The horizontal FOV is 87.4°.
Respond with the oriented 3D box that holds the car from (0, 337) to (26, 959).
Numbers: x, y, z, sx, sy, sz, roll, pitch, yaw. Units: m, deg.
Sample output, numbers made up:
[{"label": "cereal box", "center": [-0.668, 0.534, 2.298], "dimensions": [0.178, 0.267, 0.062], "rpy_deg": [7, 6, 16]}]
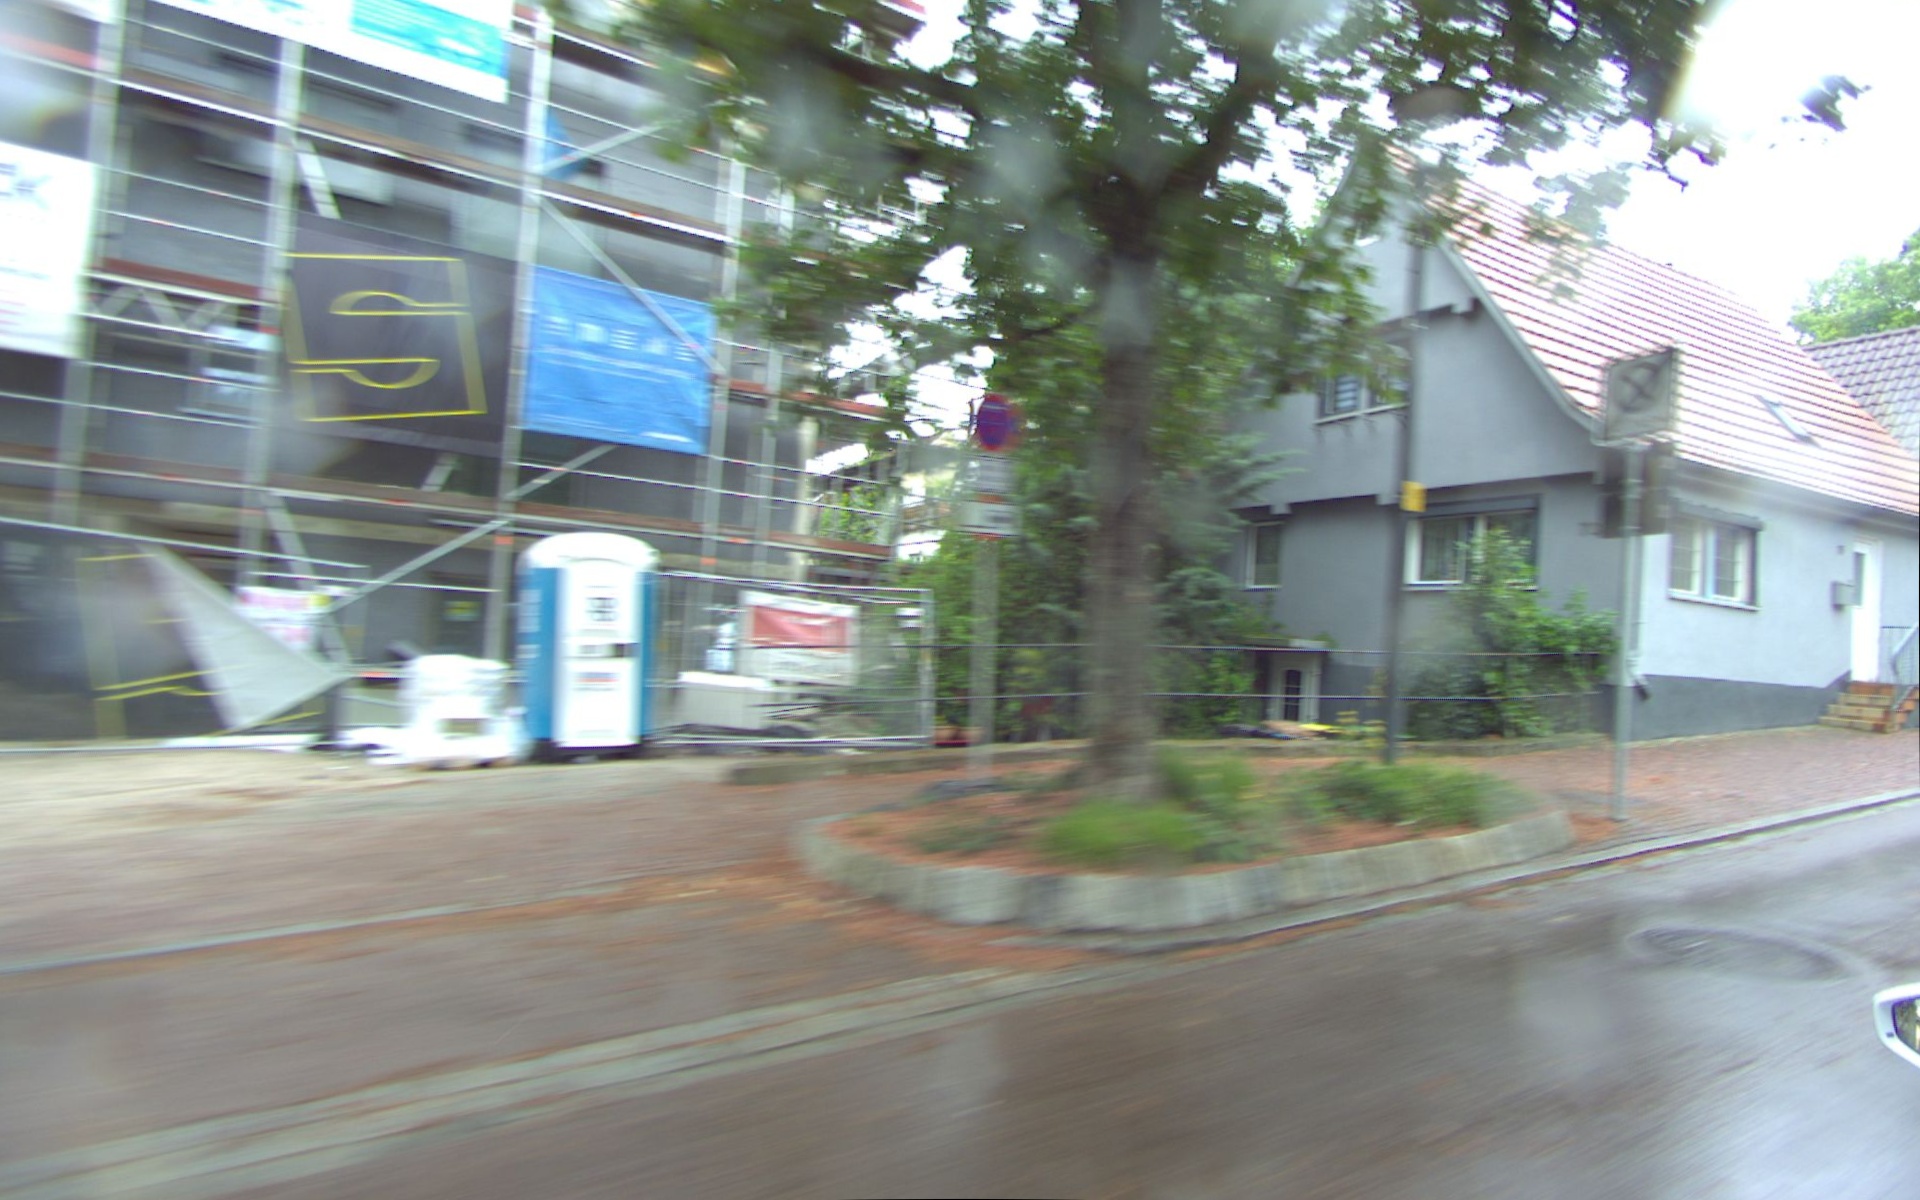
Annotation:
[{"label": "car", "center": [-5.988, 0.171, 1.914], "dimensions": [5.712, 2.516, 2.294], "rpy_deg": [1, 0, -28]}]
